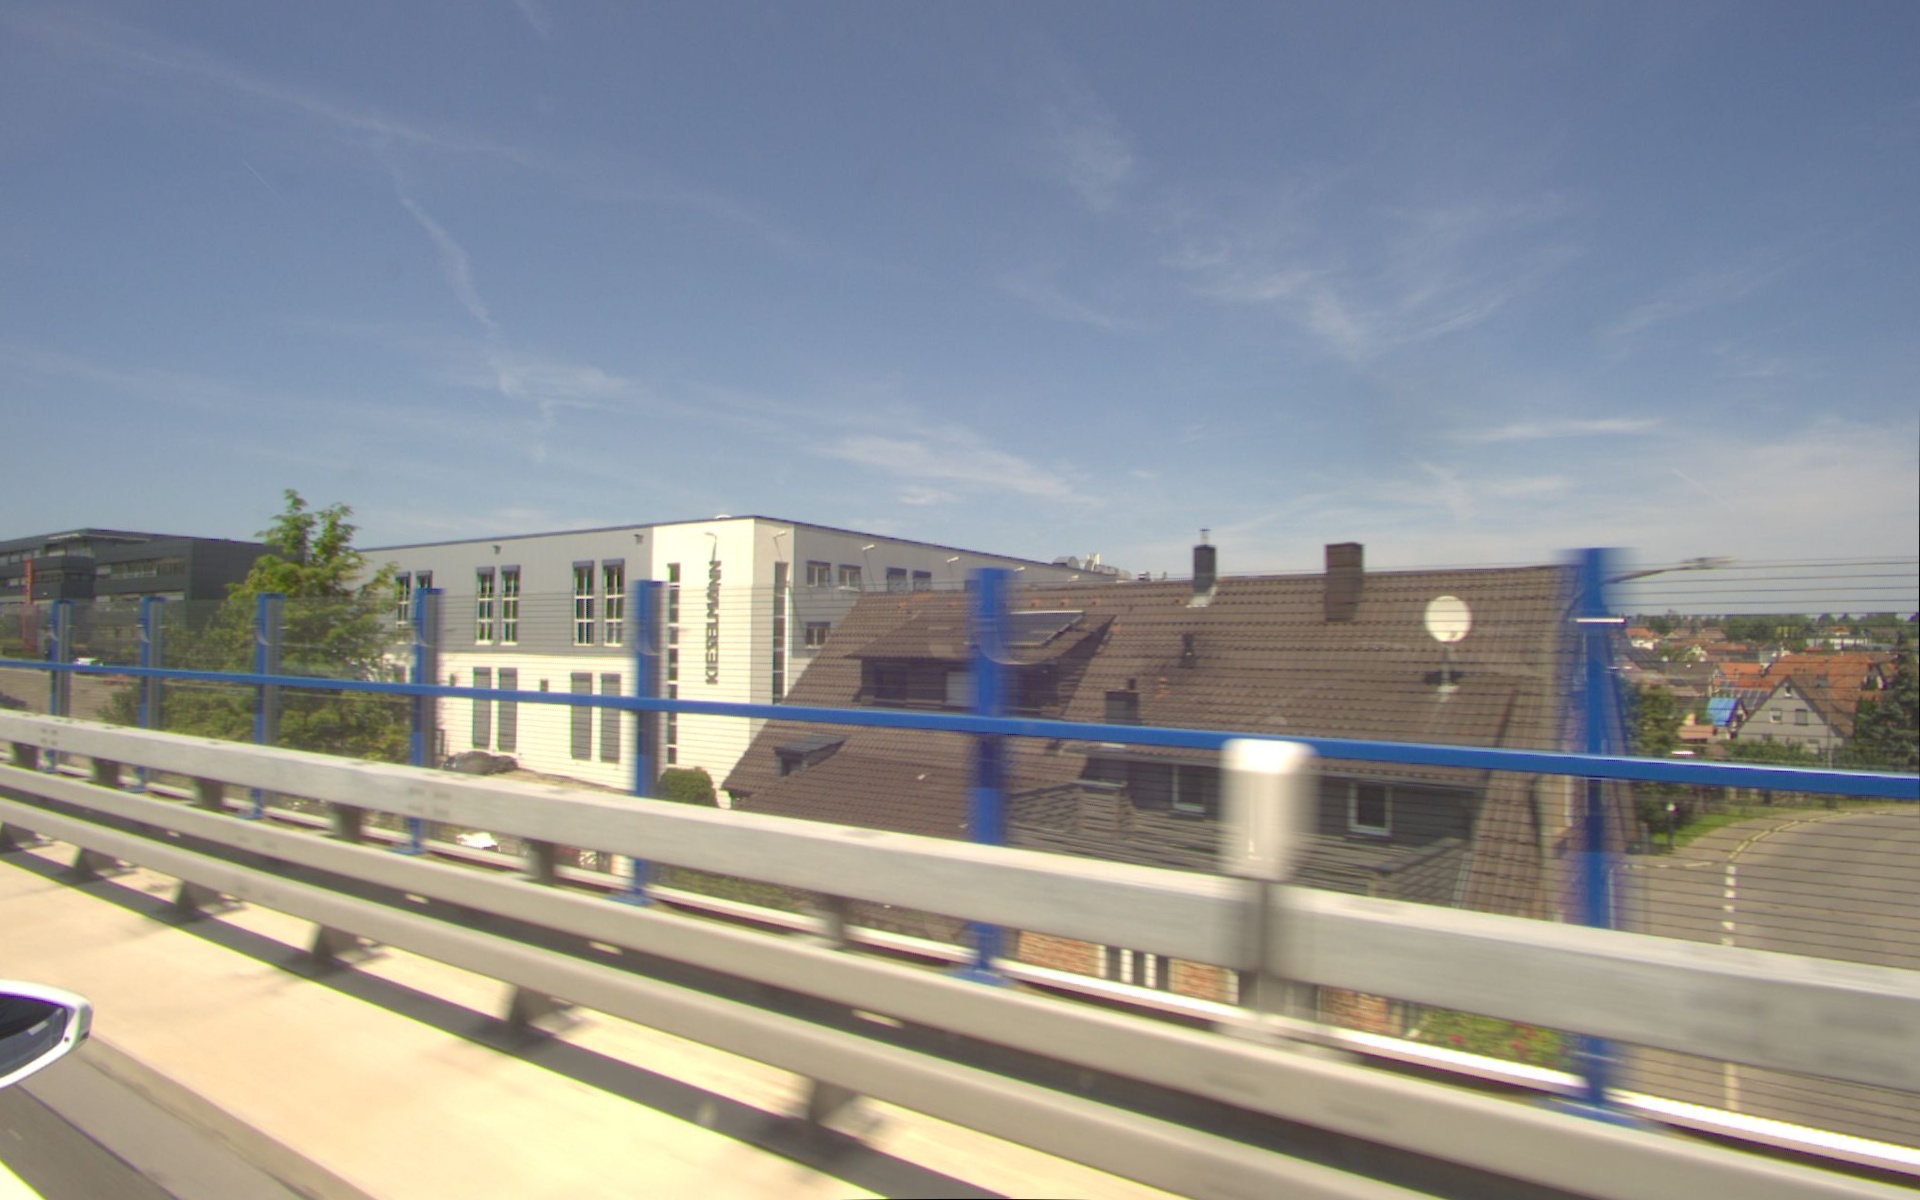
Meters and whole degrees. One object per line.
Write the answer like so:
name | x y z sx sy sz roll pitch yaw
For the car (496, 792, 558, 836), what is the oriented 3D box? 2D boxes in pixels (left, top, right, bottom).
car | -18.126 8.907 41.832 1.706 1.381 3.982 8 -9 -31
